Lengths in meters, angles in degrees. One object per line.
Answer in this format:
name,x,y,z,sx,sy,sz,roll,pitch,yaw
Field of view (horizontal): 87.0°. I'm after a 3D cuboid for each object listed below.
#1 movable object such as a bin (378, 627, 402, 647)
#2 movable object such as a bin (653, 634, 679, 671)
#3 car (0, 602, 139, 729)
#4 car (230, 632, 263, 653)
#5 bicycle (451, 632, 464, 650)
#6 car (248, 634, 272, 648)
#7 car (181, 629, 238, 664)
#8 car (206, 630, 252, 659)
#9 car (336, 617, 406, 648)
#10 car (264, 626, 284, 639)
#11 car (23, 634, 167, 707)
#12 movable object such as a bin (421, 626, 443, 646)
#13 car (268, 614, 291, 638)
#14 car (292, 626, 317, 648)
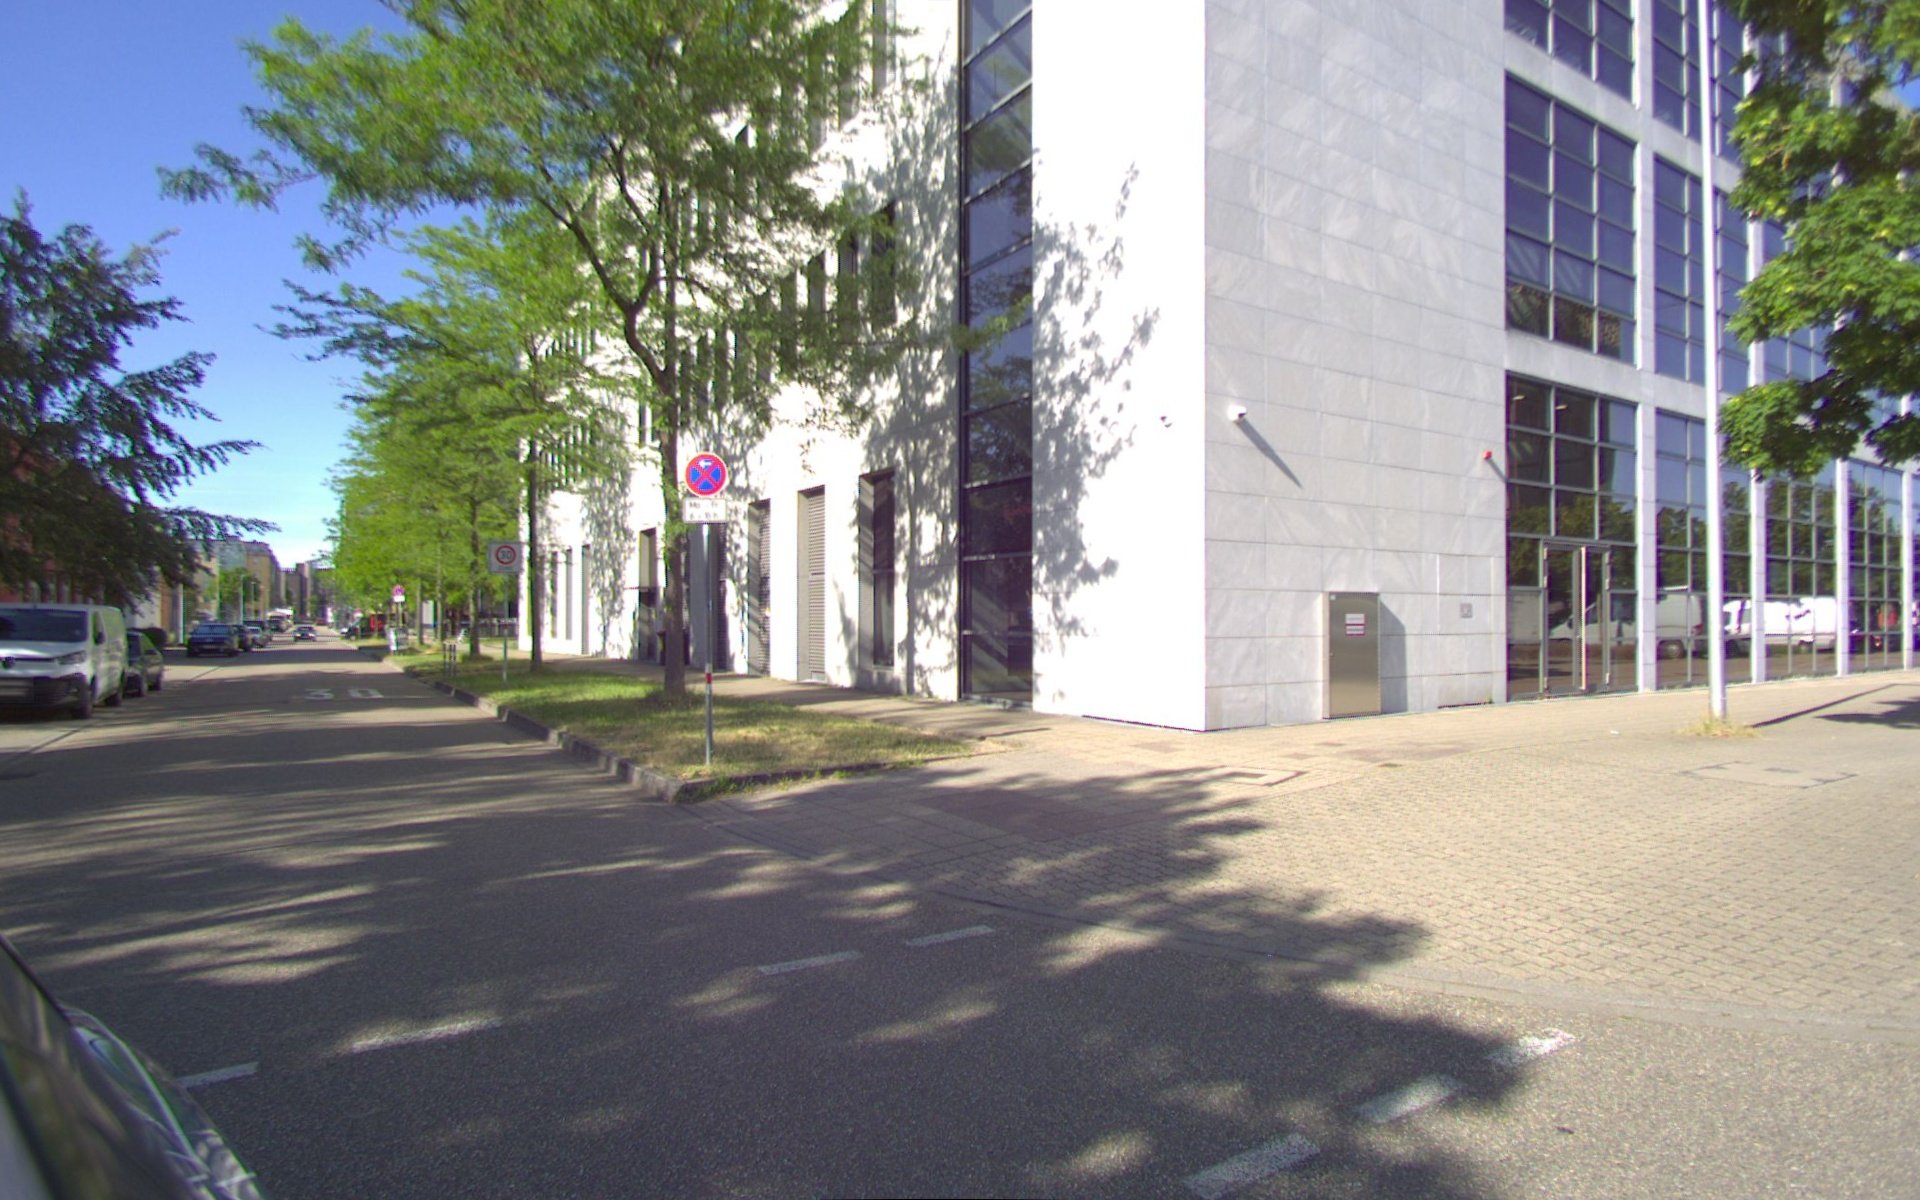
movable object such as a bin,-48.184,3.120,85.507,1.501,1.580,1.348,0,-1,-42
movable object such as a bin,-8.539,1.527,29.399,0.585,1.048,0.545,-1,-1,-35
car,-15.908,1.062,17.592,1.872,1.929,5.162,1,-2,-32
car,-50.402,2.994,71.548,1.672,1.467,3.900,1,-2,-32
bicycle,-35.008,2.851,70.485,0.592,1.201,1.732,-1,-1,-32
car,-68.067,3.946,98.470,1.748,1.299,4.107,1,-2,-32
car,-37.001,2.276,49.986,1.872,1.642,4.385,1,-2,-32
car,-43.124,2.591,59.791,1.848,1.642,4.419,1,-2,-32
car,-53.991,2.981,92.799,5.401,2.560,1.992,-2,0,-34
car,-81.925,3.890,120.891,1.872,1.607,4.385,1,-2,-32
car,-19.172,1.493,22.623,1.800,1.434,4.295,1,-2,-32
movable object such as a bin,-42.580,2.911,81.595,1.498,1.580,1.351,-1,-1,-28
car,-114.924,4.345,170.895,2.866,3.973,6.344,1,-2,-31
car,-60.248,3.380,93.054,1.872,2.000,4.385,1,-2,-32
